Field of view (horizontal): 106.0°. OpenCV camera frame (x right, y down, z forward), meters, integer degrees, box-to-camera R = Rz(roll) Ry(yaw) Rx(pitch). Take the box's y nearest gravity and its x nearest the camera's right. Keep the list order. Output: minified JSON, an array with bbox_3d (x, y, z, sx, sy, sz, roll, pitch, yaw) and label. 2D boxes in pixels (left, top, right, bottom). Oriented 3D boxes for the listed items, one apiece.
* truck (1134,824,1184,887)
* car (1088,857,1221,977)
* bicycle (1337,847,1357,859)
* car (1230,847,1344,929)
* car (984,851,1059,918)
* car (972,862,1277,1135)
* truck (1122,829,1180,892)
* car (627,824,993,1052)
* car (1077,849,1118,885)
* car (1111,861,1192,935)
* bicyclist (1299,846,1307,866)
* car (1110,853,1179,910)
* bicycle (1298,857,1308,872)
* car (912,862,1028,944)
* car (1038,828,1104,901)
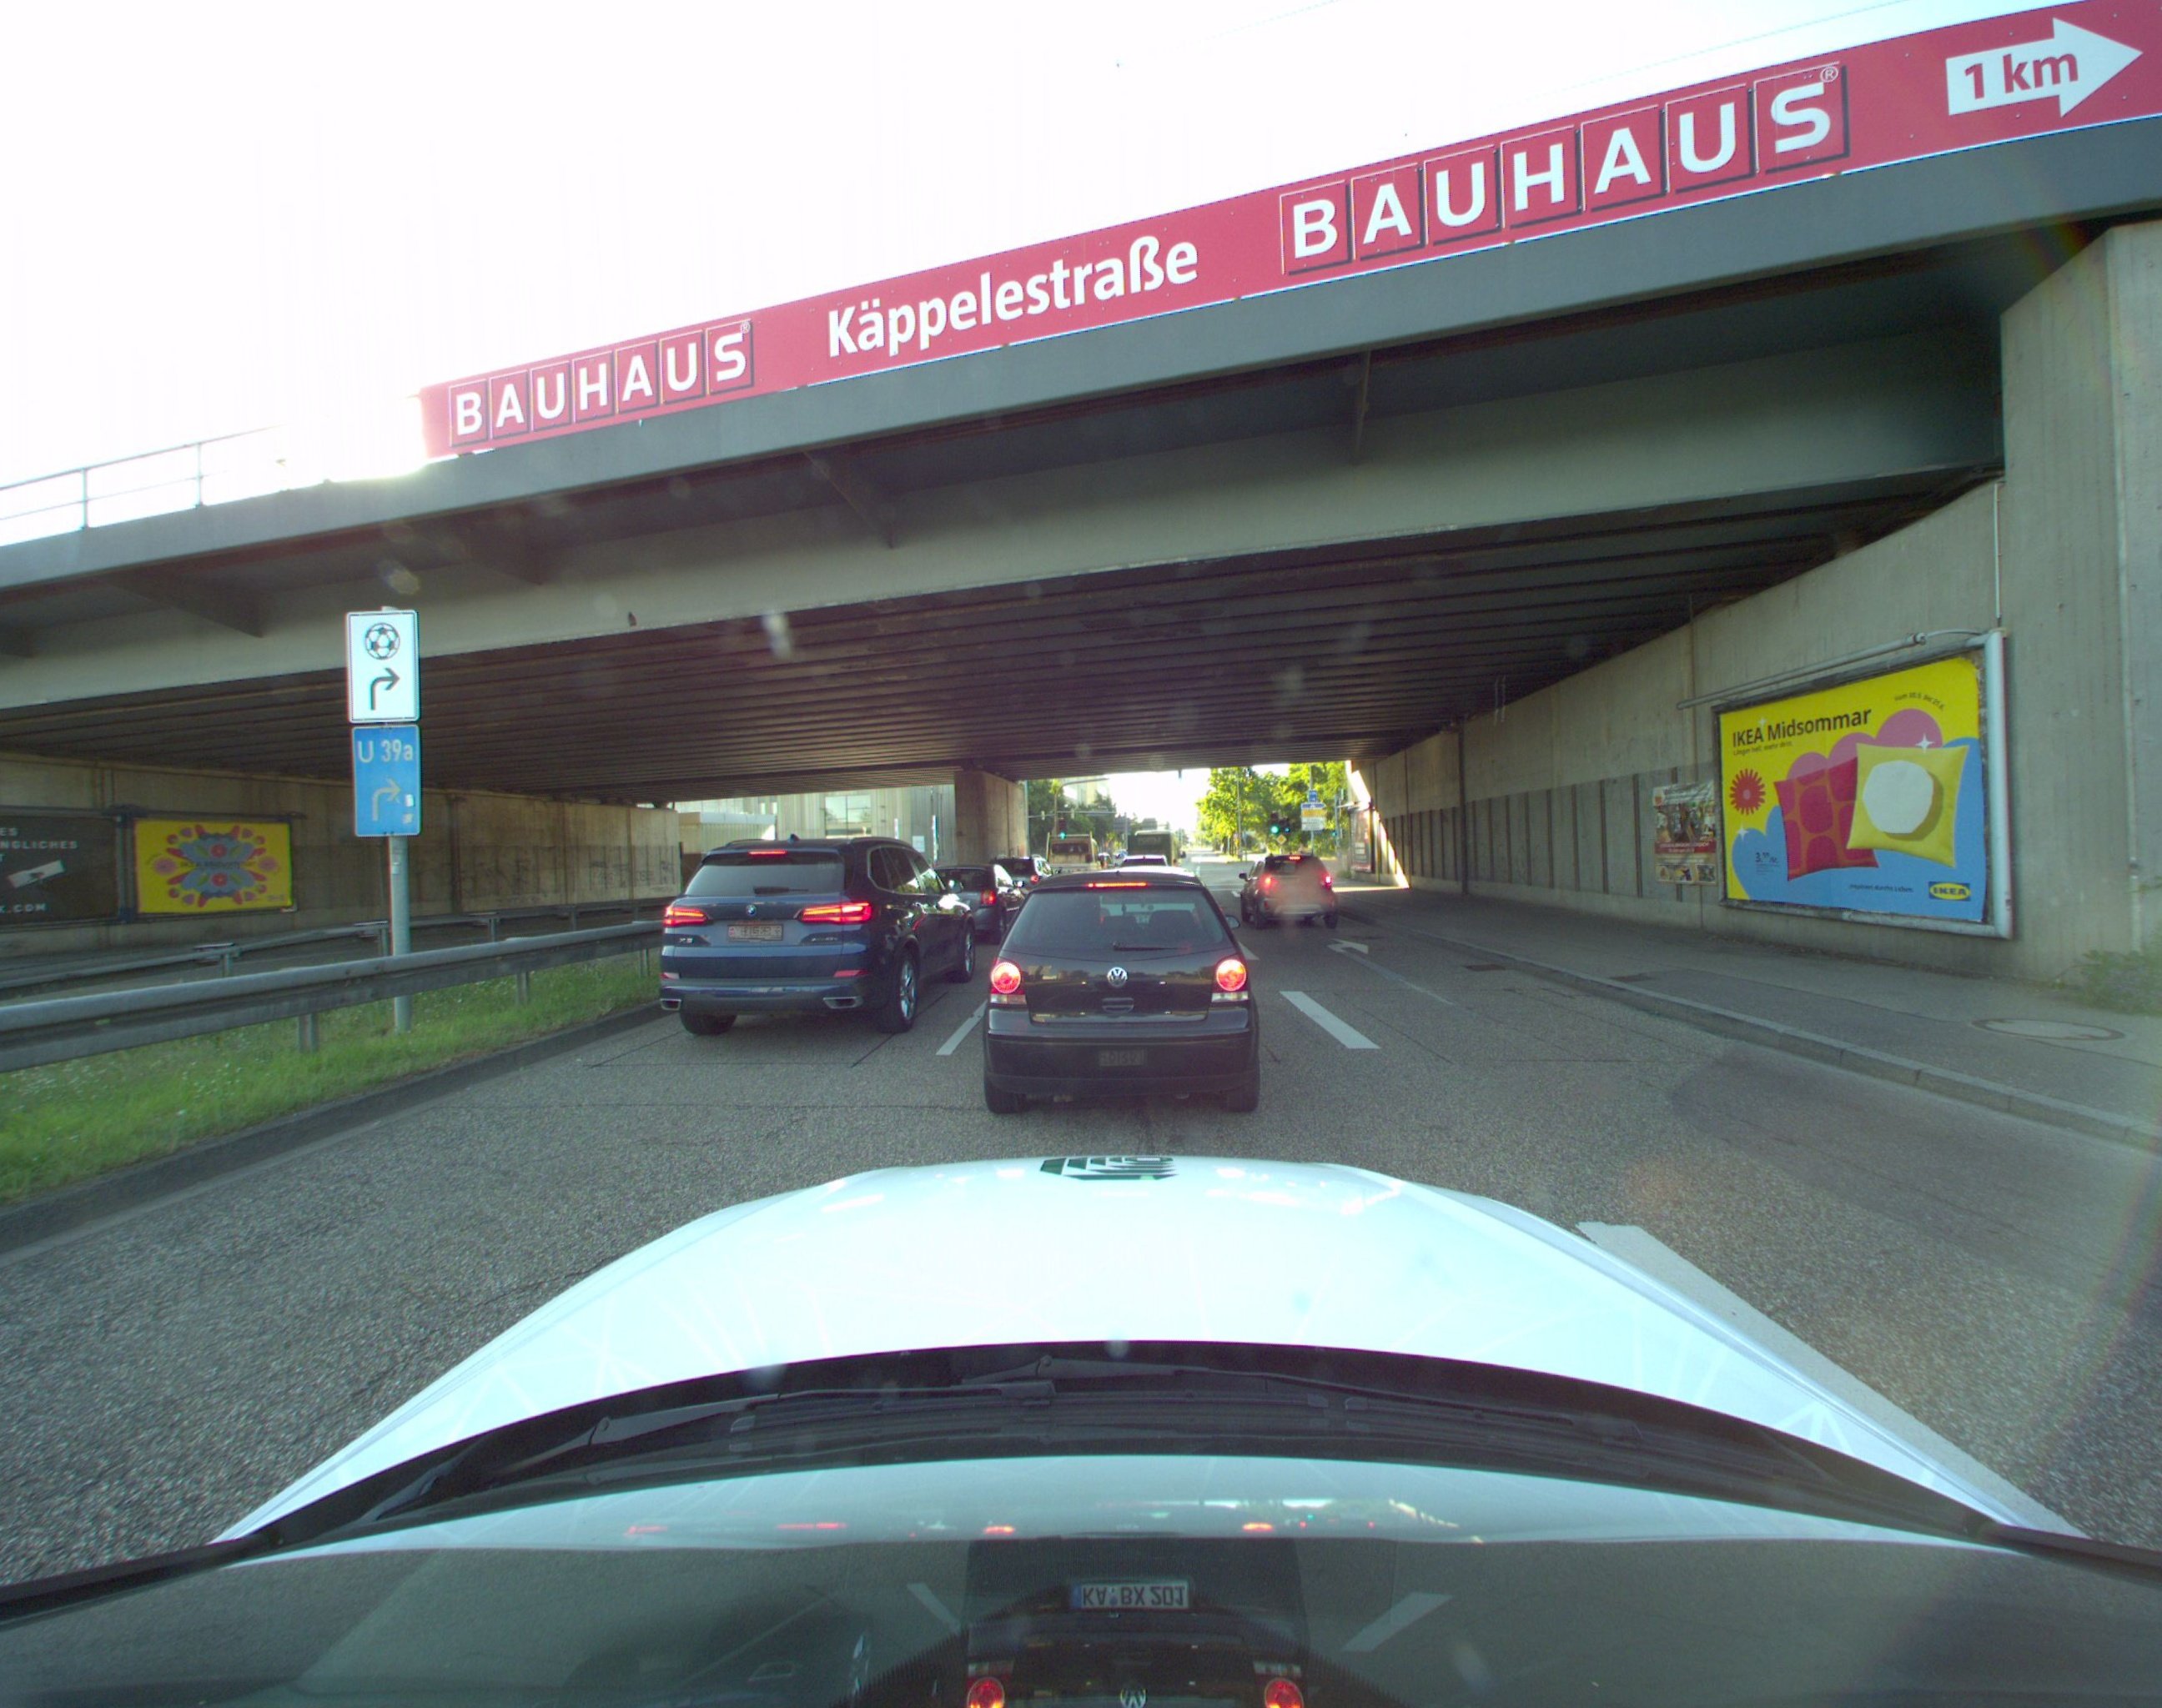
[{"bbox_3d":[3.543,0.073,36.523,1.984,2.668,4.009,-1,-1,8],"label":"truck"},{"bbox_3d":[0.987,0.764,11.701,1.572,1.413,4.065,0,0,3],"label":"car"},{"bbox_3d":[25.137,-0.102,76.888,1.647,0.991,0.581,-3,2,25],"label":"bicycle"},{"bbox_3d":[4.485,0.703,18.319,1.729,1.630,4.065,0,-1,3],"label":"car"},{"bbox_3d":[-1.538,0.777,22.265,1.610,1.679,3.685,0,-1,2],"label":"car"},{"bbox_3d":[0.420,0.776,6.152,1.608,1.409,3.689,0,-1,6],"label":"car"},{"bbox_3d":[2.814,0.246,31.992,1.984,2.315,4.009,-1,-1,8],"label":"truck"},{"bbox_3d":[-2.352,0.664,8.544,1.984,1.734,4.539,0,-1,5],"label":"car"},{"bbox_3d":[0.863,0.637,40.544,1.608,1.679,3.691,0,-1,7],"label":"car"},{"bbox_3d":[1.491,0.877,17.930,1.572,1.413,4.065,0,0,3],"label":"car"},{"bbox_3d":[14.010,0.124,51.360,0.425,1.233,0.461,-2,-1,8],"label":"bicyclist"},{"bbox_3d":[2.017,0.781,24.686,1.786,1.559,4.009,-1,-1,8],"label":"car"},{"bbox_3d":[14.008,0.630,51.300,0.435,0.914,1.029,-3,-1,9],"label":"bicycle"},{"bbox_3d":[-2.047,0.867,15.907,1.610,1.409,3.685,0,-1,2],"label":"car"},{"bbox_3d":[-0.294,0.395,31.482,2.127,2.576,5.092,0,-1,4],"label":"car"}]
